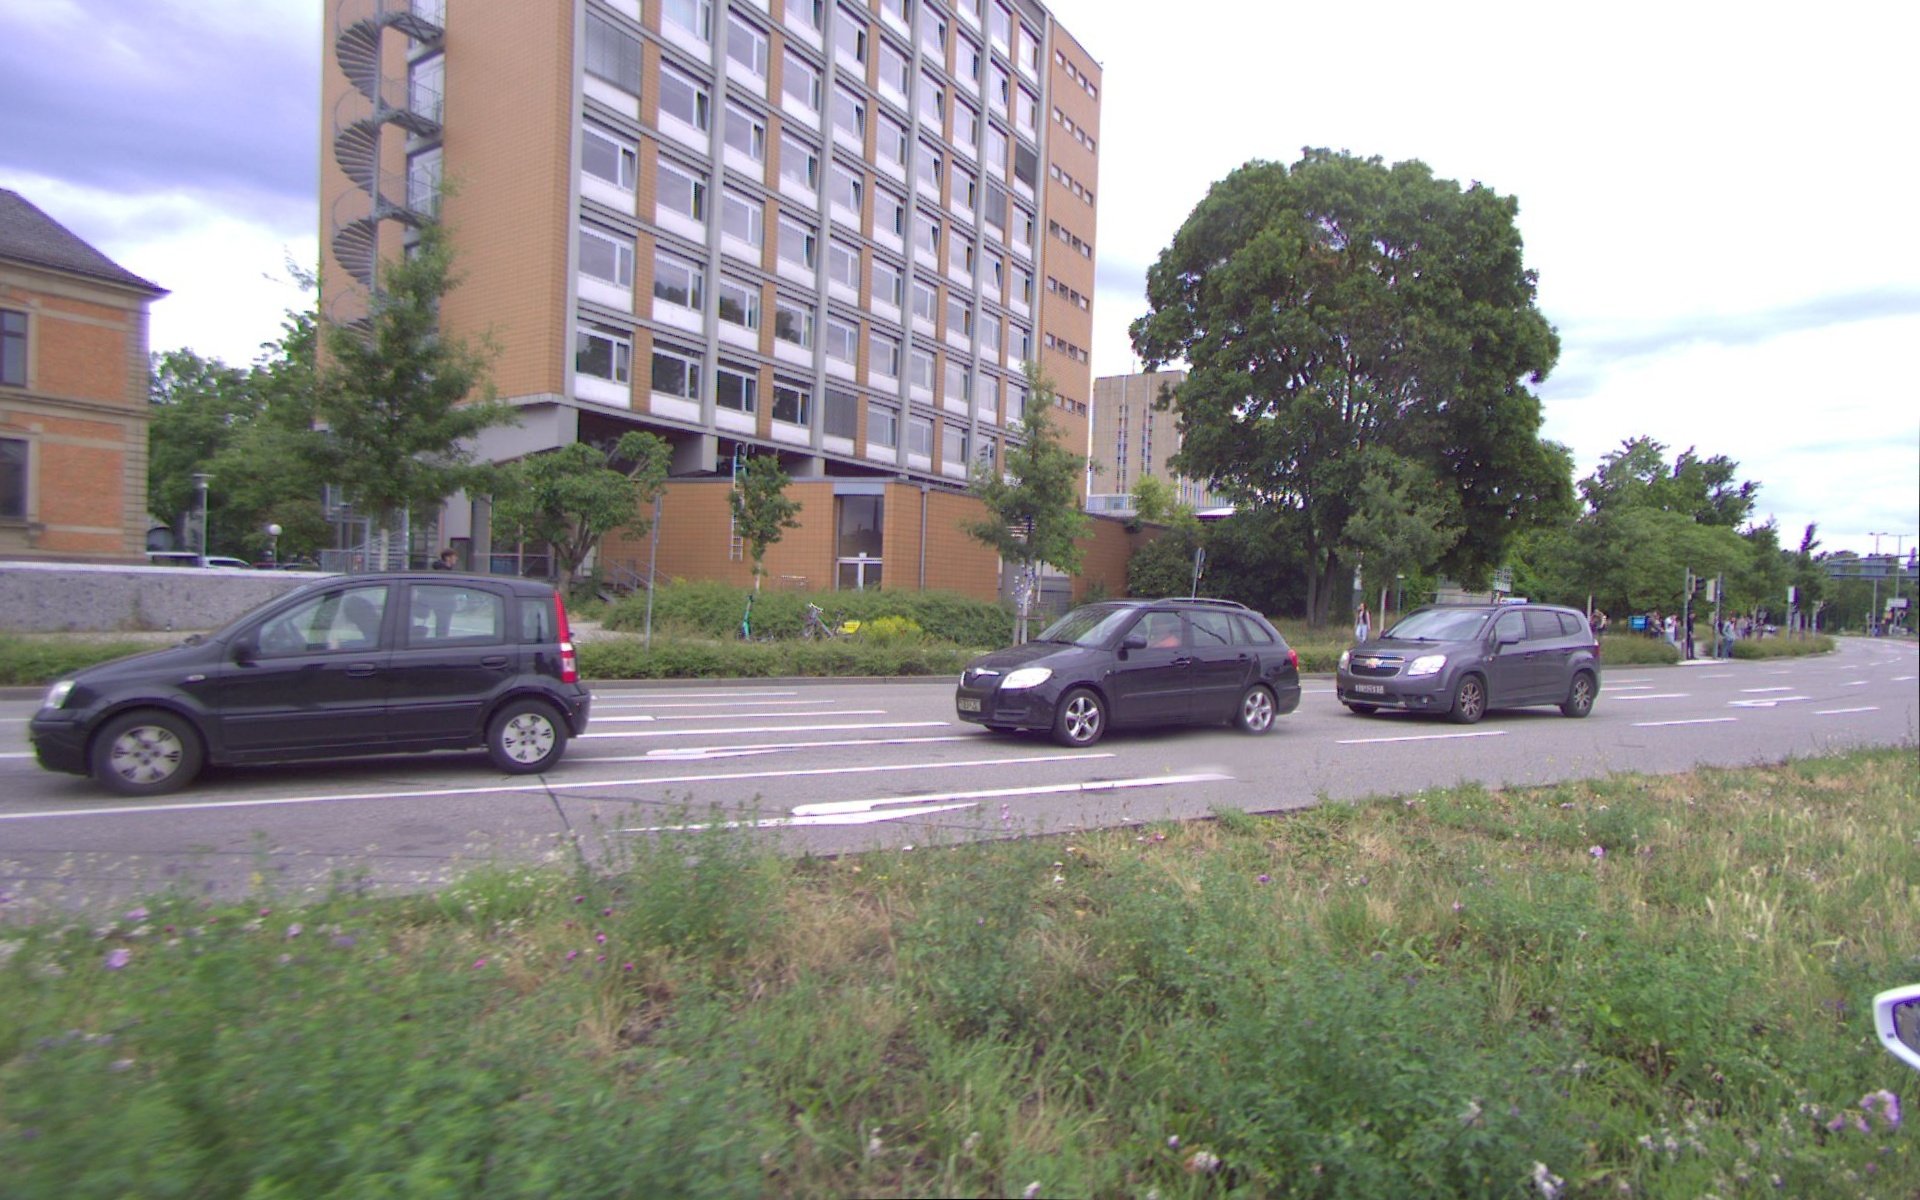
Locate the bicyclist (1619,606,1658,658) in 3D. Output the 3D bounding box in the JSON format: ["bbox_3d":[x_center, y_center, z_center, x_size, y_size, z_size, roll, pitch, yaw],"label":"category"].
[{"bbox_3d":[25.316,1.187,37.491,0.818,1.869,0.791,2,1,-6],"label":"bicyclist"}]

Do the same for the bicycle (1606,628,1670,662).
[{"bbox_3d":[25.288,1.672,37.491,1.871,1.174,0.790,2,1,-7],"label":"bicycle"}]

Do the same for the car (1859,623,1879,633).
[{"bbox_3d":[128.095,3.935,141.544,1.689,1.282,3.328,3,1,36],"label":"car"}]

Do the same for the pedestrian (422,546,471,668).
[{"bbox_3d":[-8.690,0.113,17.017,0.649,2.007,0.816,2,1,-25],"label":"pedestrian"}]

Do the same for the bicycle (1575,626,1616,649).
[{"bbox_3d":[26.167,1.547,41.350,1.864,0.894,0.710,2,1,-35],"label":"bicycle"}]

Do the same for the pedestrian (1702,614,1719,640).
[{"bbox_3d":[51.815,1.868,69.357,0.899,1.788,0.748,2,1,-42],"label":"pedestrian"}]

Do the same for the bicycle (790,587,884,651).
[{"bbox_3d":[-3.014,0.456,24.762,2.212,1.468,0.849,2,1,-6],"label":"bicycle"}]

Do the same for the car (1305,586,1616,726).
[{"bbox_3d":[7.346,0.769,14.602,4.659,1.748,1.861,2,-1,-32],"label":"car"}]

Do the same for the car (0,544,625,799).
[{"bbox_3d":[-4.579,0.483,7.622,3.620,1.535,1.611,2,0,-29],"label":"car"}]

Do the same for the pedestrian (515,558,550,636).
[{"bbox_3d":[-9.958,-0.071,23.383,0.676,1.757,0.744,2,0,-25],"label":"pedestrian"}]

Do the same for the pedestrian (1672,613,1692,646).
[{"bbox_3d":[44.911,1.838,62.476,1.039,2.040,0.748,2,1,-42],"label":"pedestrian"}]

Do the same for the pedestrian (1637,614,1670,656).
[{"bbox_3d":[28.581,1.444,41.420,0.797,1.671,0.836,2,1,-33],"label":"pedestrian"}]

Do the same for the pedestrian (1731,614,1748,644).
[{"bbox_3d":[55.158,2.046,71.073,1.039,2.040,0.748,2,1,-42],"label":"pedestrian"}]

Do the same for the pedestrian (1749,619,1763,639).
[{"bbox_3d":[71.078,2.583,89.738,0.907,1.803,1.059,3,1,40],"label":"pedestrian"}]

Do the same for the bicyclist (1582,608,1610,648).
[{"bbox_3d":[26.176,1.133,41.340,0.705,1.591,0.710,2,1,-36],"label":"bicyclist"}]

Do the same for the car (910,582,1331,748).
[{"bbox_3d":[1.844,0.679,11.147,4.425,1.528,1.862,2,-2,-30],"label":"car"}]

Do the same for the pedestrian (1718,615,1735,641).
[{"bbox_3d":[52.539,1.936,68.847,1.039,1.735,0.748,2,1,-42],"label":"pedestrian"}]

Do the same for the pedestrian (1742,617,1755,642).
[{"bbox_3d":[61.568,2.330,78.438,0.706,1.895,0.753,3,1,44],"label":"pedestrian"}]

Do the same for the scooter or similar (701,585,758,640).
[{"bbox_3d":[-5.923,0.307,25.781,0.625,1.320,1.754,1,1,-41],"label":"scooter or similar"}]

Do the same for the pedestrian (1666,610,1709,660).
[{"bbox_3d":[28.451,1.368,39.285,0.857,1.867,1.042,2,1,-33],"label":"pedestrian"}]

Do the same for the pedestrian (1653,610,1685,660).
[{"bbox_3d":[27.377,1.342,38.799,0.758,1.867,0.752,2,0,-33],"label":"pedestrian"}]

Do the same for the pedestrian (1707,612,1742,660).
[{"bbox_3d":[30.283,1.416,39.801,0.660,1.867,0.888,2,1,-33],"label":"pedestrian"}]

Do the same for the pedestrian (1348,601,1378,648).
[{"bbox_3d":[13.768,0.853,34.344,0.747,1.562,0.558,2,1,-34],"label":"pedestrian"}]
